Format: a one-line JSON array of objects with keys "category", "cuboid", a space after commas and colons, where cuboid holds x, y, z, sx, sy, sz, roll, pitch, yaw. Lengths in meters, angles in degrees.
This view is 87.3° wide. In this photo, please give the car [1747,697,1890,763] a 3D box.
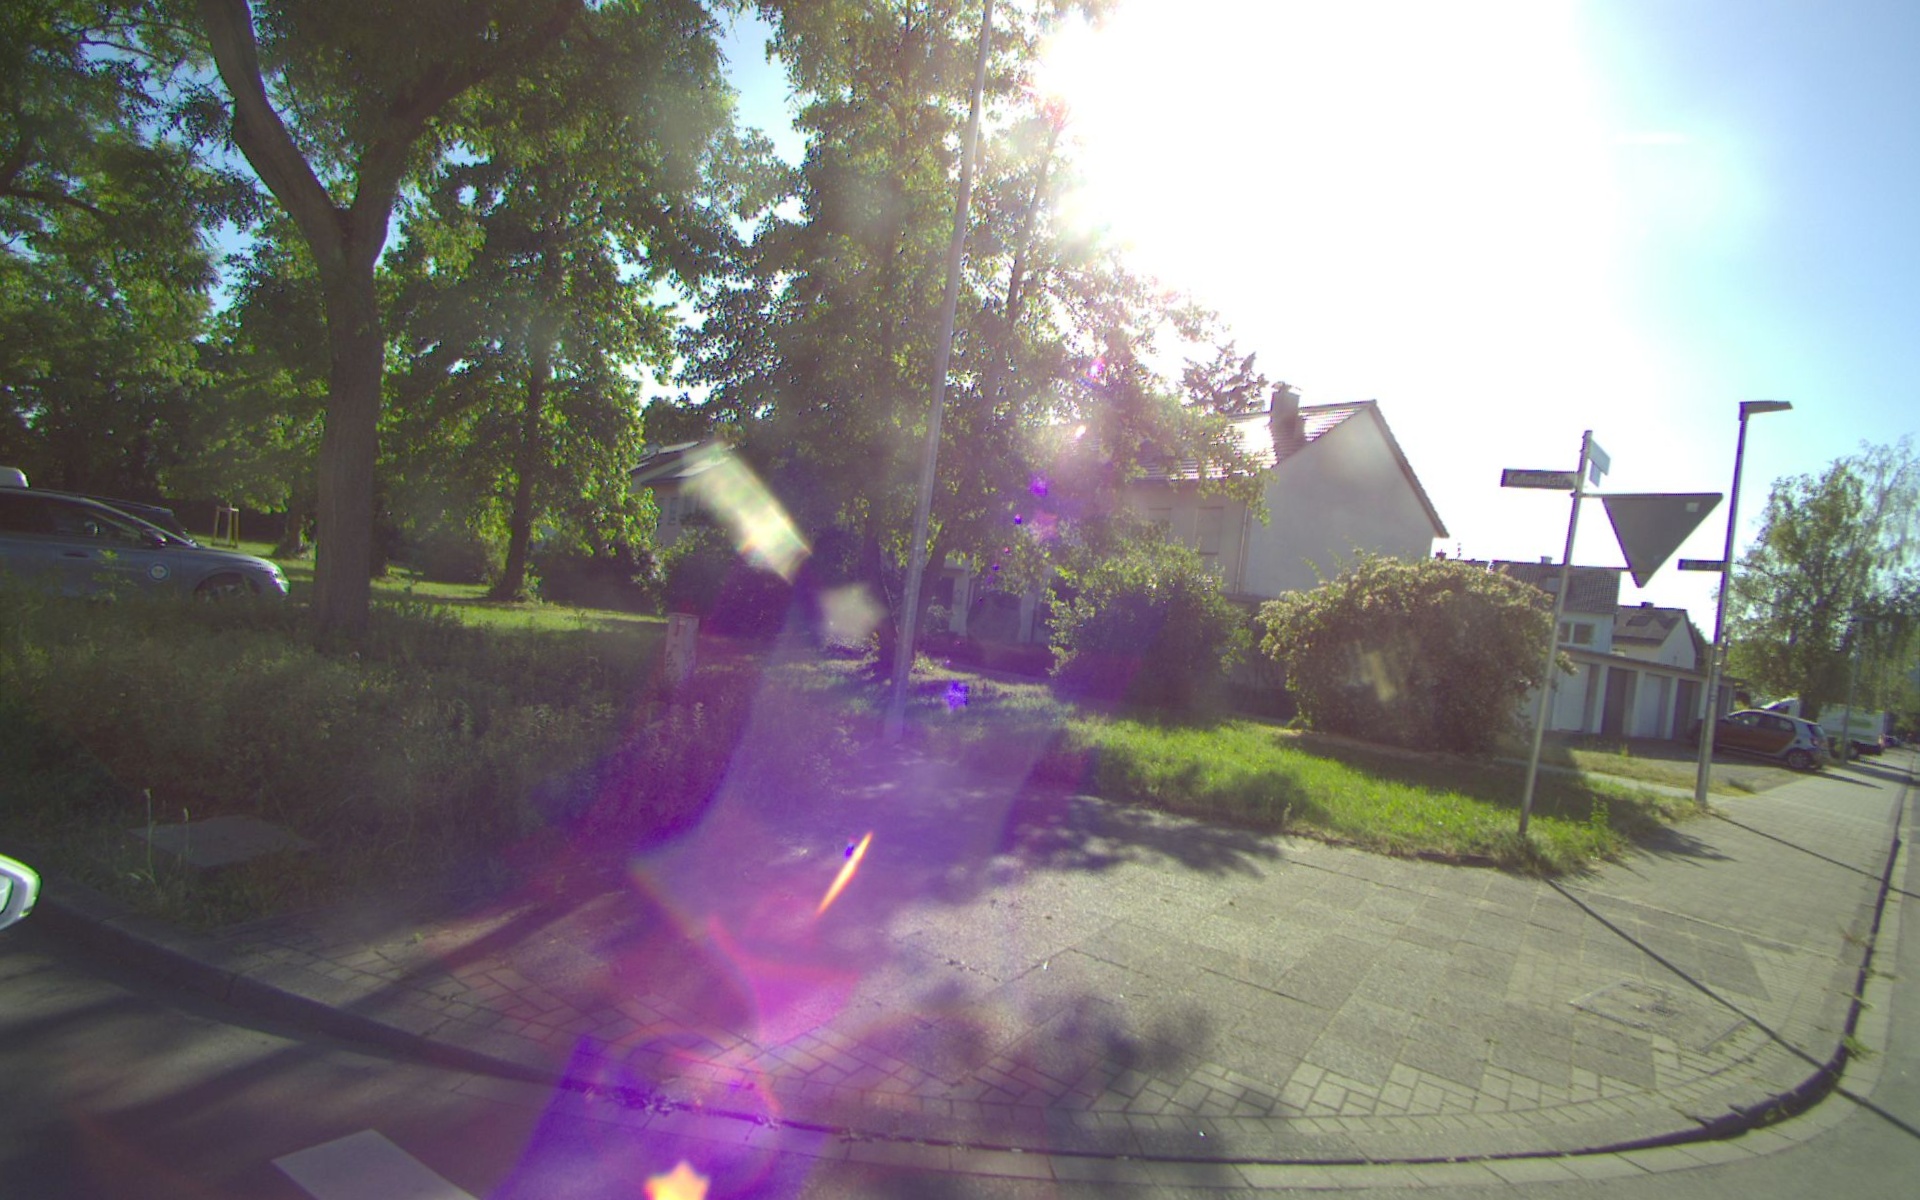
[{"category": "car", "cuboid": [42.489, 6.389, 49.964, 4.994, 2.428, 1.994, 7, 0, 35]}]

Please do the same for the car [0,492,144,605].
[{"category": "car", "cuboid": [-14.873, -0.896, 14.436, 1.967, 1.536, 4.448, 7, 1, 31]}]

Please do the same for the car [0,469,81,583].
[{"category": "car", "cuboid": [-18.659, -1.538, 17.270, 1.965, 1.948, 4.895, 7, 0, 27]}]

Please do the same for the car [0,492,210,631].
[{"category": "car", "cuboid": [-12.633, -0.617, 12.907, 1.710, 1.590, 4.430, 7, -1, 34]}]

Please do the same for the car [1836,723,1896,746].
[{"category": "car", "cuboid": [87.823, 13.023, 97.576, 3.936, 1.571, 1.995, 7, 0, 34]}]

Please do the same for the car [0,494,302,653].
[{"category": "car", "cuboid": [-10.656, -0.382, 11.493, 1.978, 1.567, 4.789, 7, -1, 31]}]

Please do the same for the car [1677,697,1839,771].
[{"category": "car", "cuboid": [25.202, 4.211, 31.870, 1.659, 1.507, 3.553, 7, 3, -37]}]
